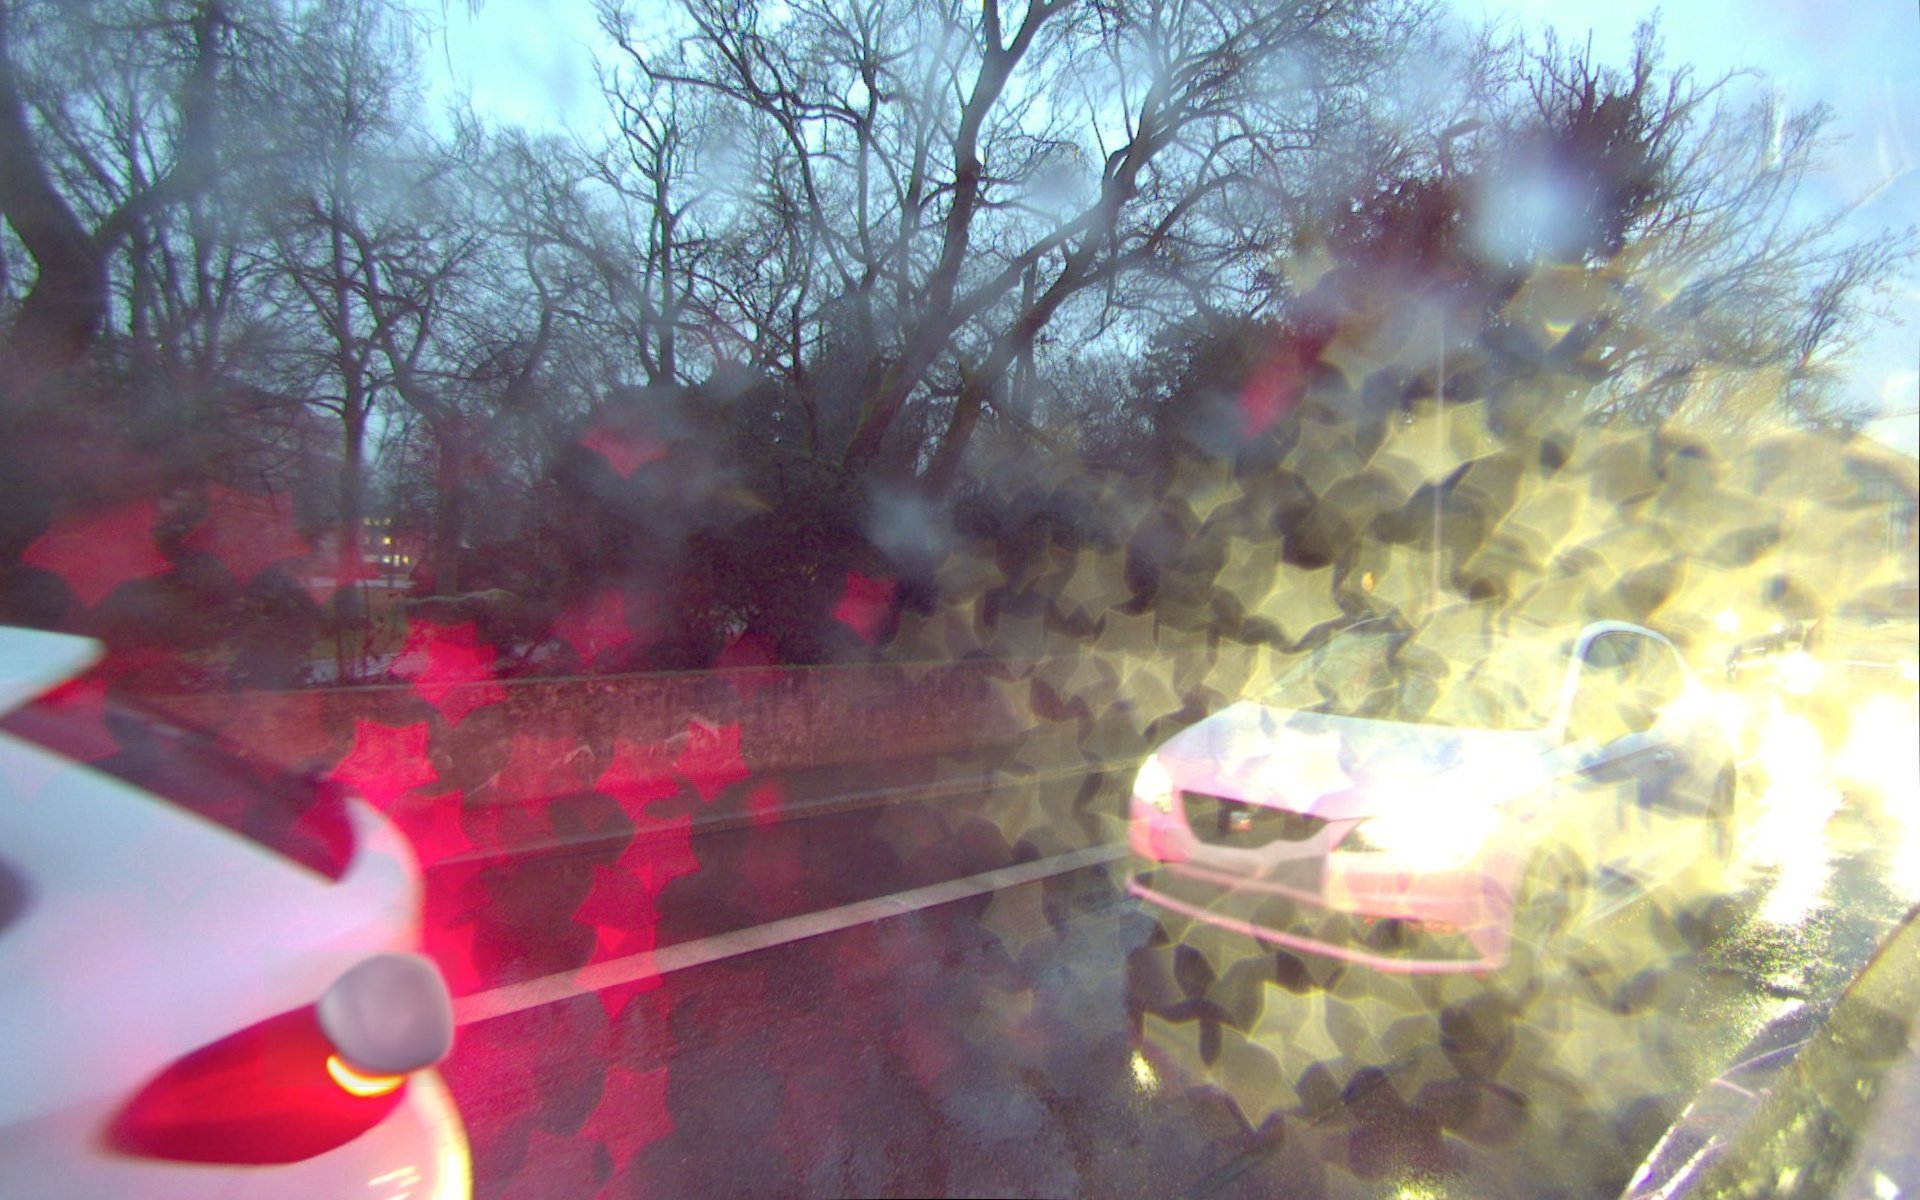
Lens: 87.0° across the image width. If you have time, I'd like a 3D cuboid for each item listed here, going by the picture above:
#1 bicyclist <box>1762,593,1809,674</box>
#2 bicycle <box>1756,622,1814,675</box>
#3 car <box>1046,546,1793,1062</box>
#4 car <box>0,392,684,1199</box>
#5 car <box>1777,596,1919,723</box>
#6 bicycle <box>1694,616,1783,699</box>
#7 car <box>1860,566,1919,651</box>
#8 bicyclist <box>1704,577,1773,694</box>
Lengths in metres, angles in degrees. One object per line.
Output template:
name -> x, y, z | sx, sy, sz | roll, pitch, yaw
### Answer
bicyclist -> 17.840, 0.708, 21.872 | 0.582, 1.706, 0.691 | 0, 0, -41
bicycle -> 17.827, 1.030, 21.863 | 1.691, 1.055, 0.691 | 0, 0, -41
car -> 2.561, 0.598, 5.152 | 4.097, 1.580, 1.885 | 0, 2, -41
car -> -2.801, 0.549, 0.482 | 4.856, 1.575, 1.864 | 0, 2, -44
car -> 13.788, 0.773, 14.961 | 4.196, 1.648, 2.070 | 0, 0, -43
bicycle -> 15.605, 1.080, 20.228 | 3.334, 1.469, 0.966 | 0, 0, -45
car -> 20.433, 0.149, 20.990 | 4.193, 1.648, 2.072 | 0, 0, -40
bicyclist -> 15.500, 0.683, 20.156 | 0.920, 2.251, 0.966 | 0, 0, -44
